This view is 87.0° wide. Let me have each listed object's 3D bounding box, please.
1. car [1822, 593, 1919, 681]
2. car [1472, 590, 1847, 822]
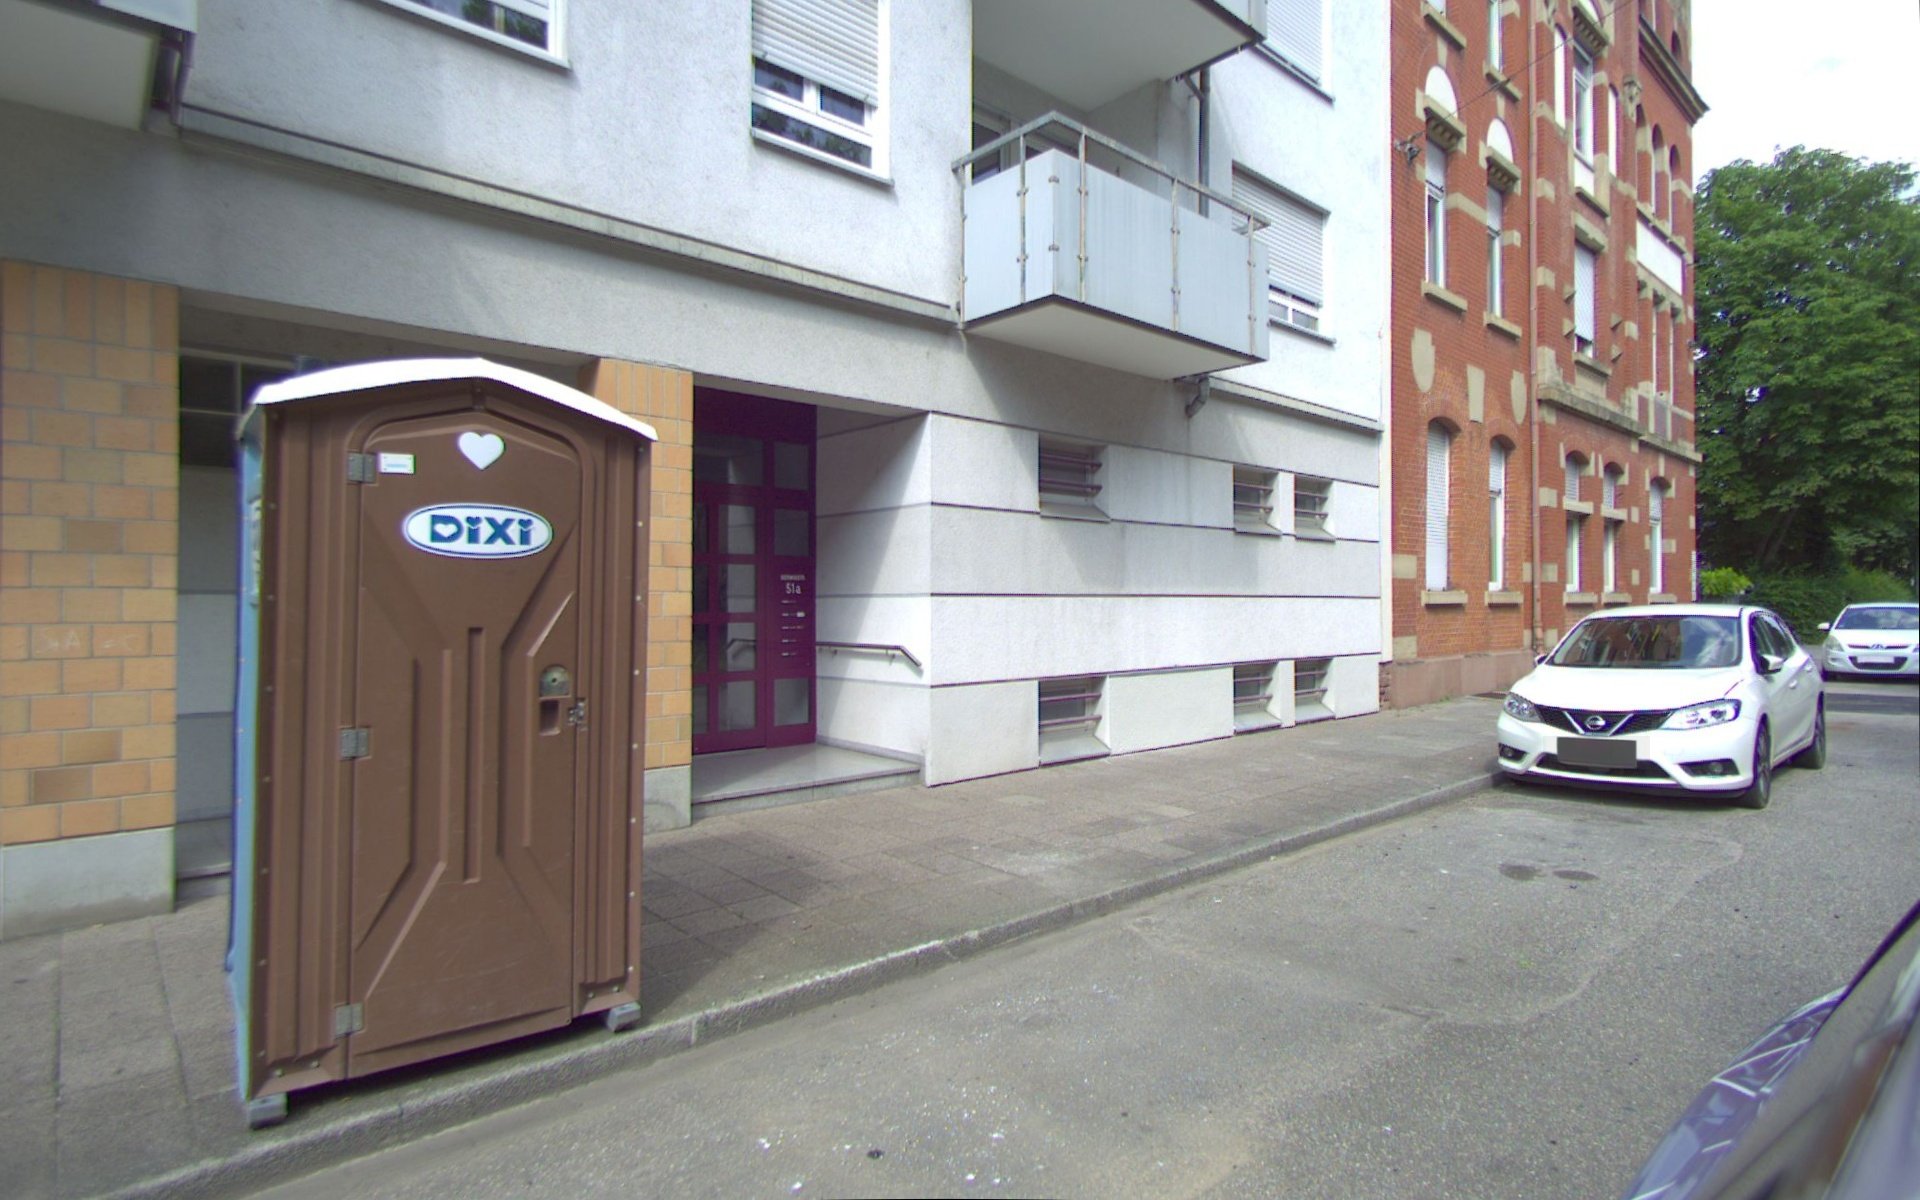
[{"bbox_3d":[18.179,0.650,19.548,3.971,1.549,1.799,0,-1,-42],"label":"car"},{"bbox_3d":[6.200,0.720,8.799,3.971,1.549,1.799,0,-1,-42],"label":"car"}]
